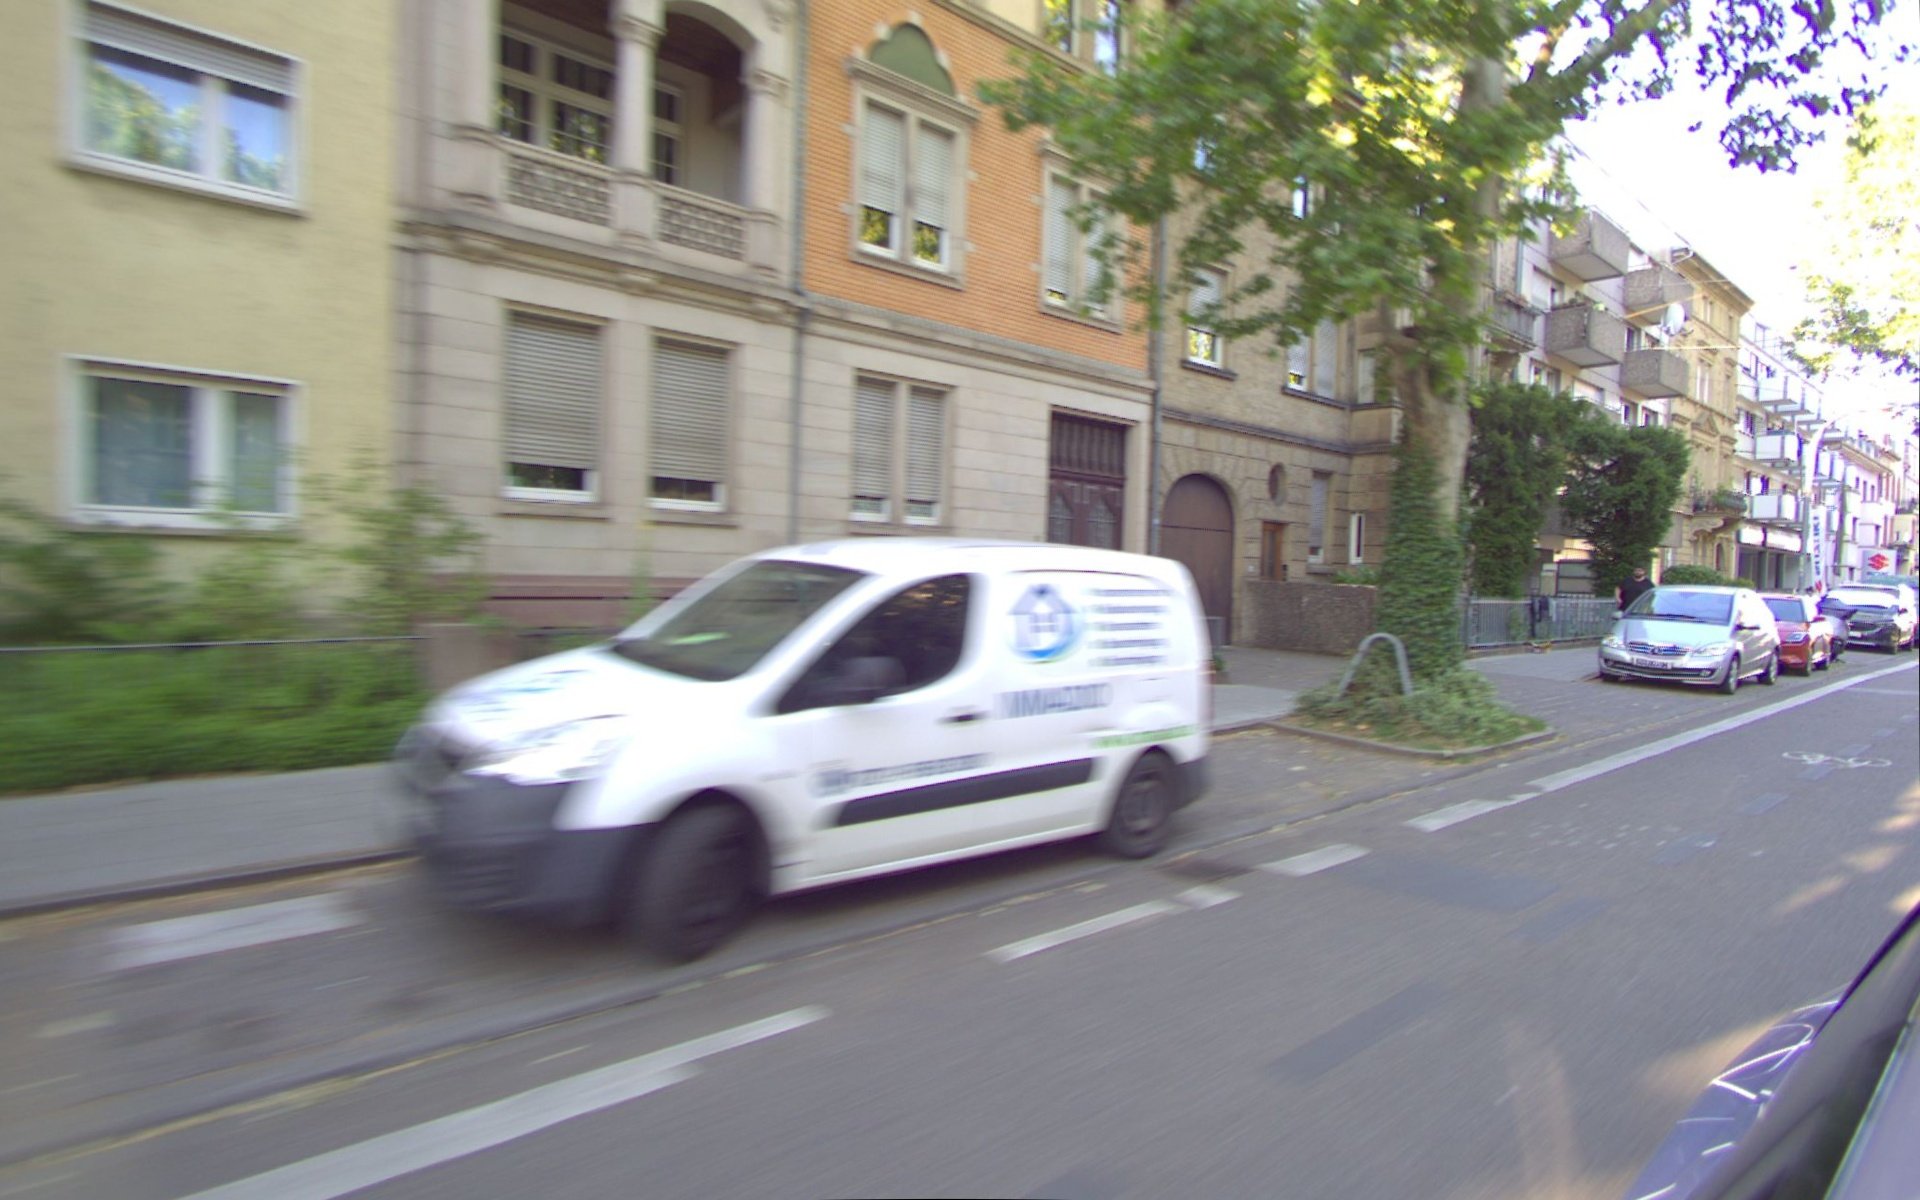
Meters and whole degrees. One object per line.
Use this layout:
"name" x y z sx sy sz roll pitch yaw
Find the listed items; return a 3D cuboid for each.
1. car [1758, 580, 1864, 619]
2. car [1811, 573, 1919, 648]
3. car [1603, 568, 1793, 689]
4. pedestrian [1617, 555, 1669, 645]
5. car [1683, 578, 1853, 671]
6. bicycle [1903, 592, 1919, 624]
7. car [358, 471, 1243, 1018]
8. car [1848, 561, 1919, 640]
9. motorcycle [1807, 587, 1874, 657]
"car" 37.619 -0.050 44.770 1.418 1.565 3.423 -1 3 -43
"car" 25.187 0.196 27.890 4.676 1.852 1.997 -1 3 -42
"car" 12.065 0.345 16.472 3.787 1.711 1.747 -1 3 -42
"pedestrian" 15.290 -0.020 22.661 0.800 1.961 0.712 0 2 -40
"car" 16.014 0.386 19.996 3.912 1.579 1.997 -1 3 -42
"bicycle" 36.029 0.328 37.270 0.342 1.157 1.848 -1 3 -41
"car" -0.560 0.404 5.341 4.315 1.791 1.749 -1 3 -39
"car" 29.563 -0.063 31.692 5.146 2.284 1.997 -1 3 -42
"motorcycle" 19.499 0.451 22.455 0.822 1.415 2.348 5 3 36
